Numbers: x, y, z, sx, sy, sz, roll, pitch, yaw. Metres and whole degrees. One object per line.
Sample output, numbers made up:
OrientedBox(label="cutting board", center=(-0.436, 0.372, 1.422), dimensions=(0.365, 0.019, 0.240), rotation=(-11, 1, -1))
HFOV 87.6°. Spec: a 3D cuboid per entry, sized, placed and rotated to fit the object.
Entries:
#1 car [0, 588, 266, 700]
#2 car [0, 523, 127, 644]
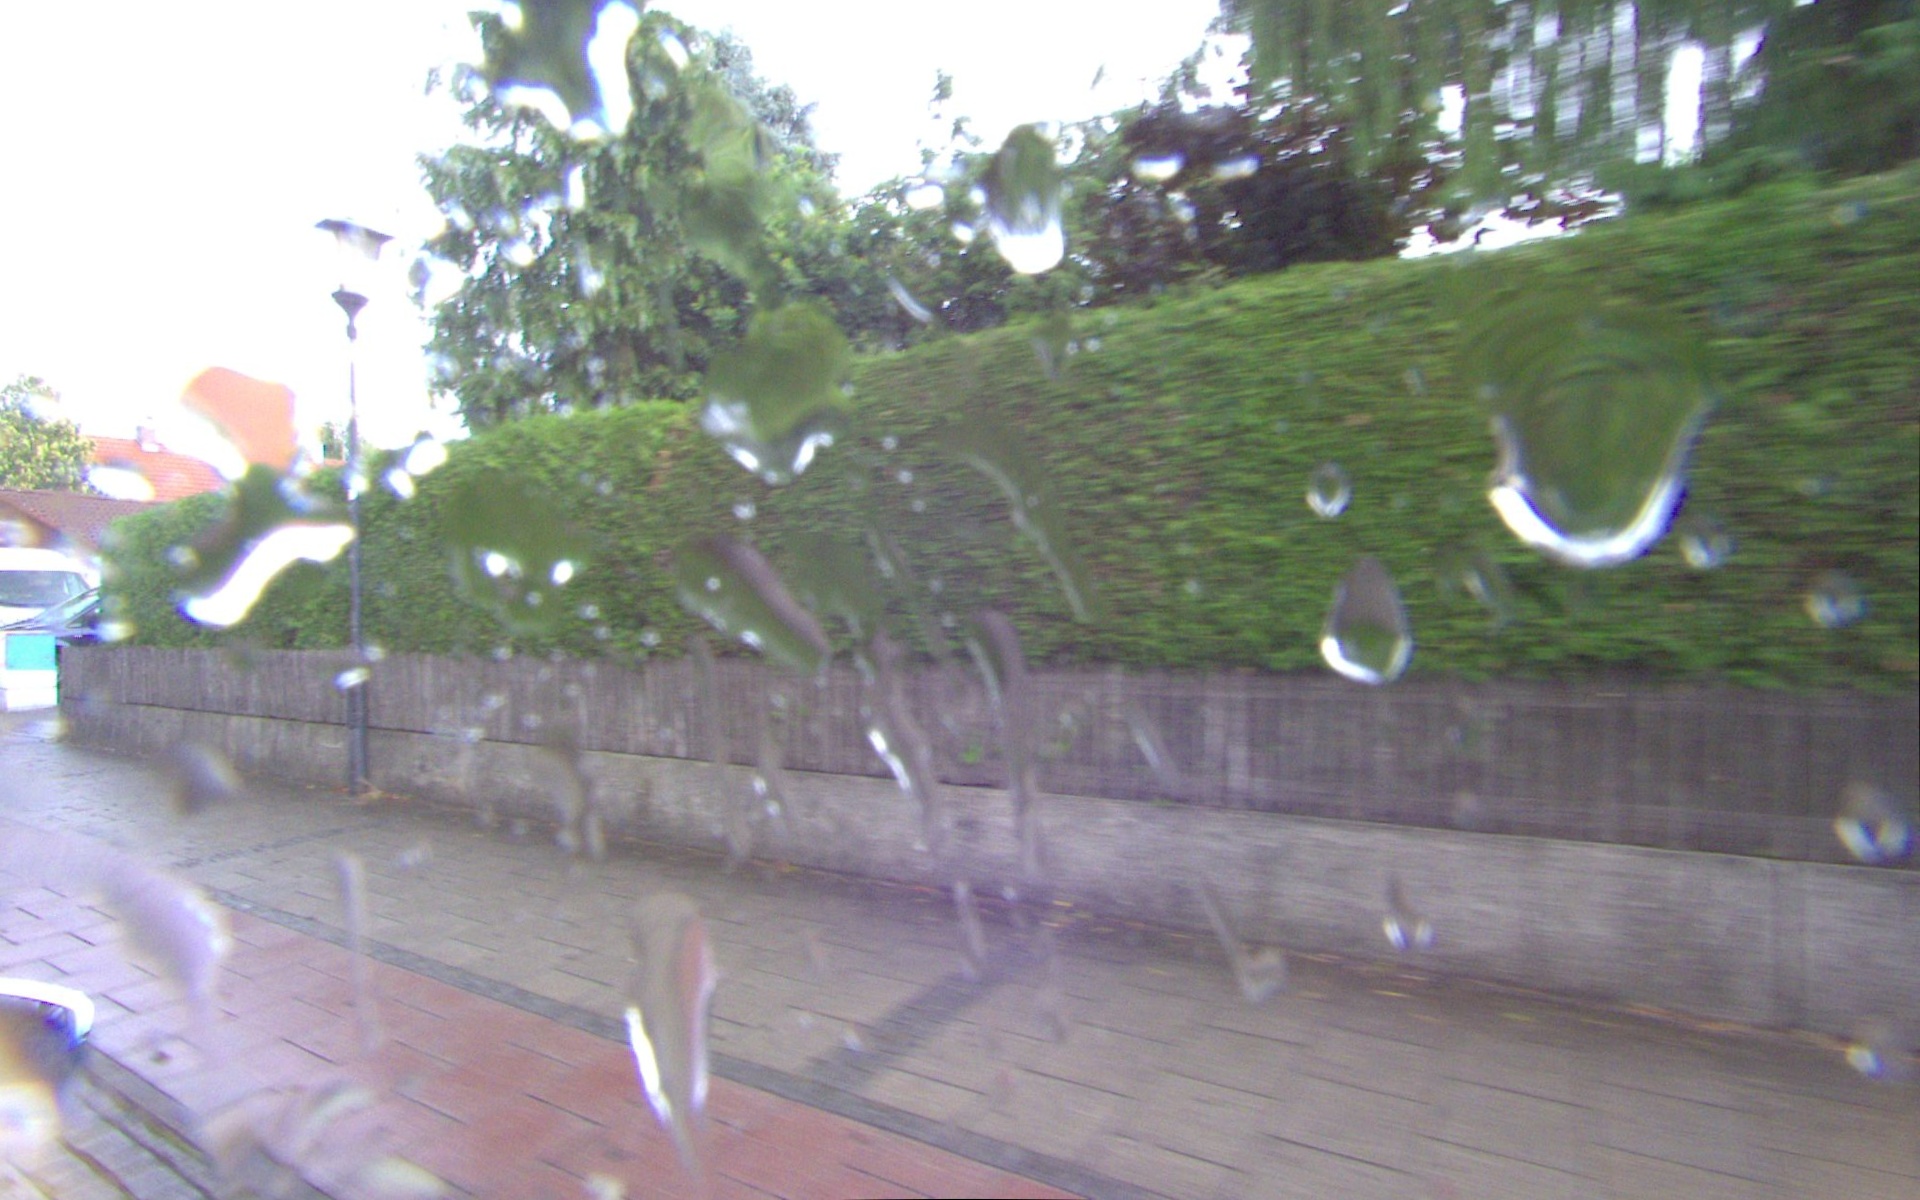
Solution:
OrientedBox(label="car", center=(-15.111, 0.696, 17.950), dimensions=(1.668, 1.775, 4.088), rotation=(2, 1, 29))
OrientedBox(label="car", center=(-19.571, -0.233, 20.242), dimensions=(4.866, 2.201, 1.997), rotation=(-1, -2, 20))
